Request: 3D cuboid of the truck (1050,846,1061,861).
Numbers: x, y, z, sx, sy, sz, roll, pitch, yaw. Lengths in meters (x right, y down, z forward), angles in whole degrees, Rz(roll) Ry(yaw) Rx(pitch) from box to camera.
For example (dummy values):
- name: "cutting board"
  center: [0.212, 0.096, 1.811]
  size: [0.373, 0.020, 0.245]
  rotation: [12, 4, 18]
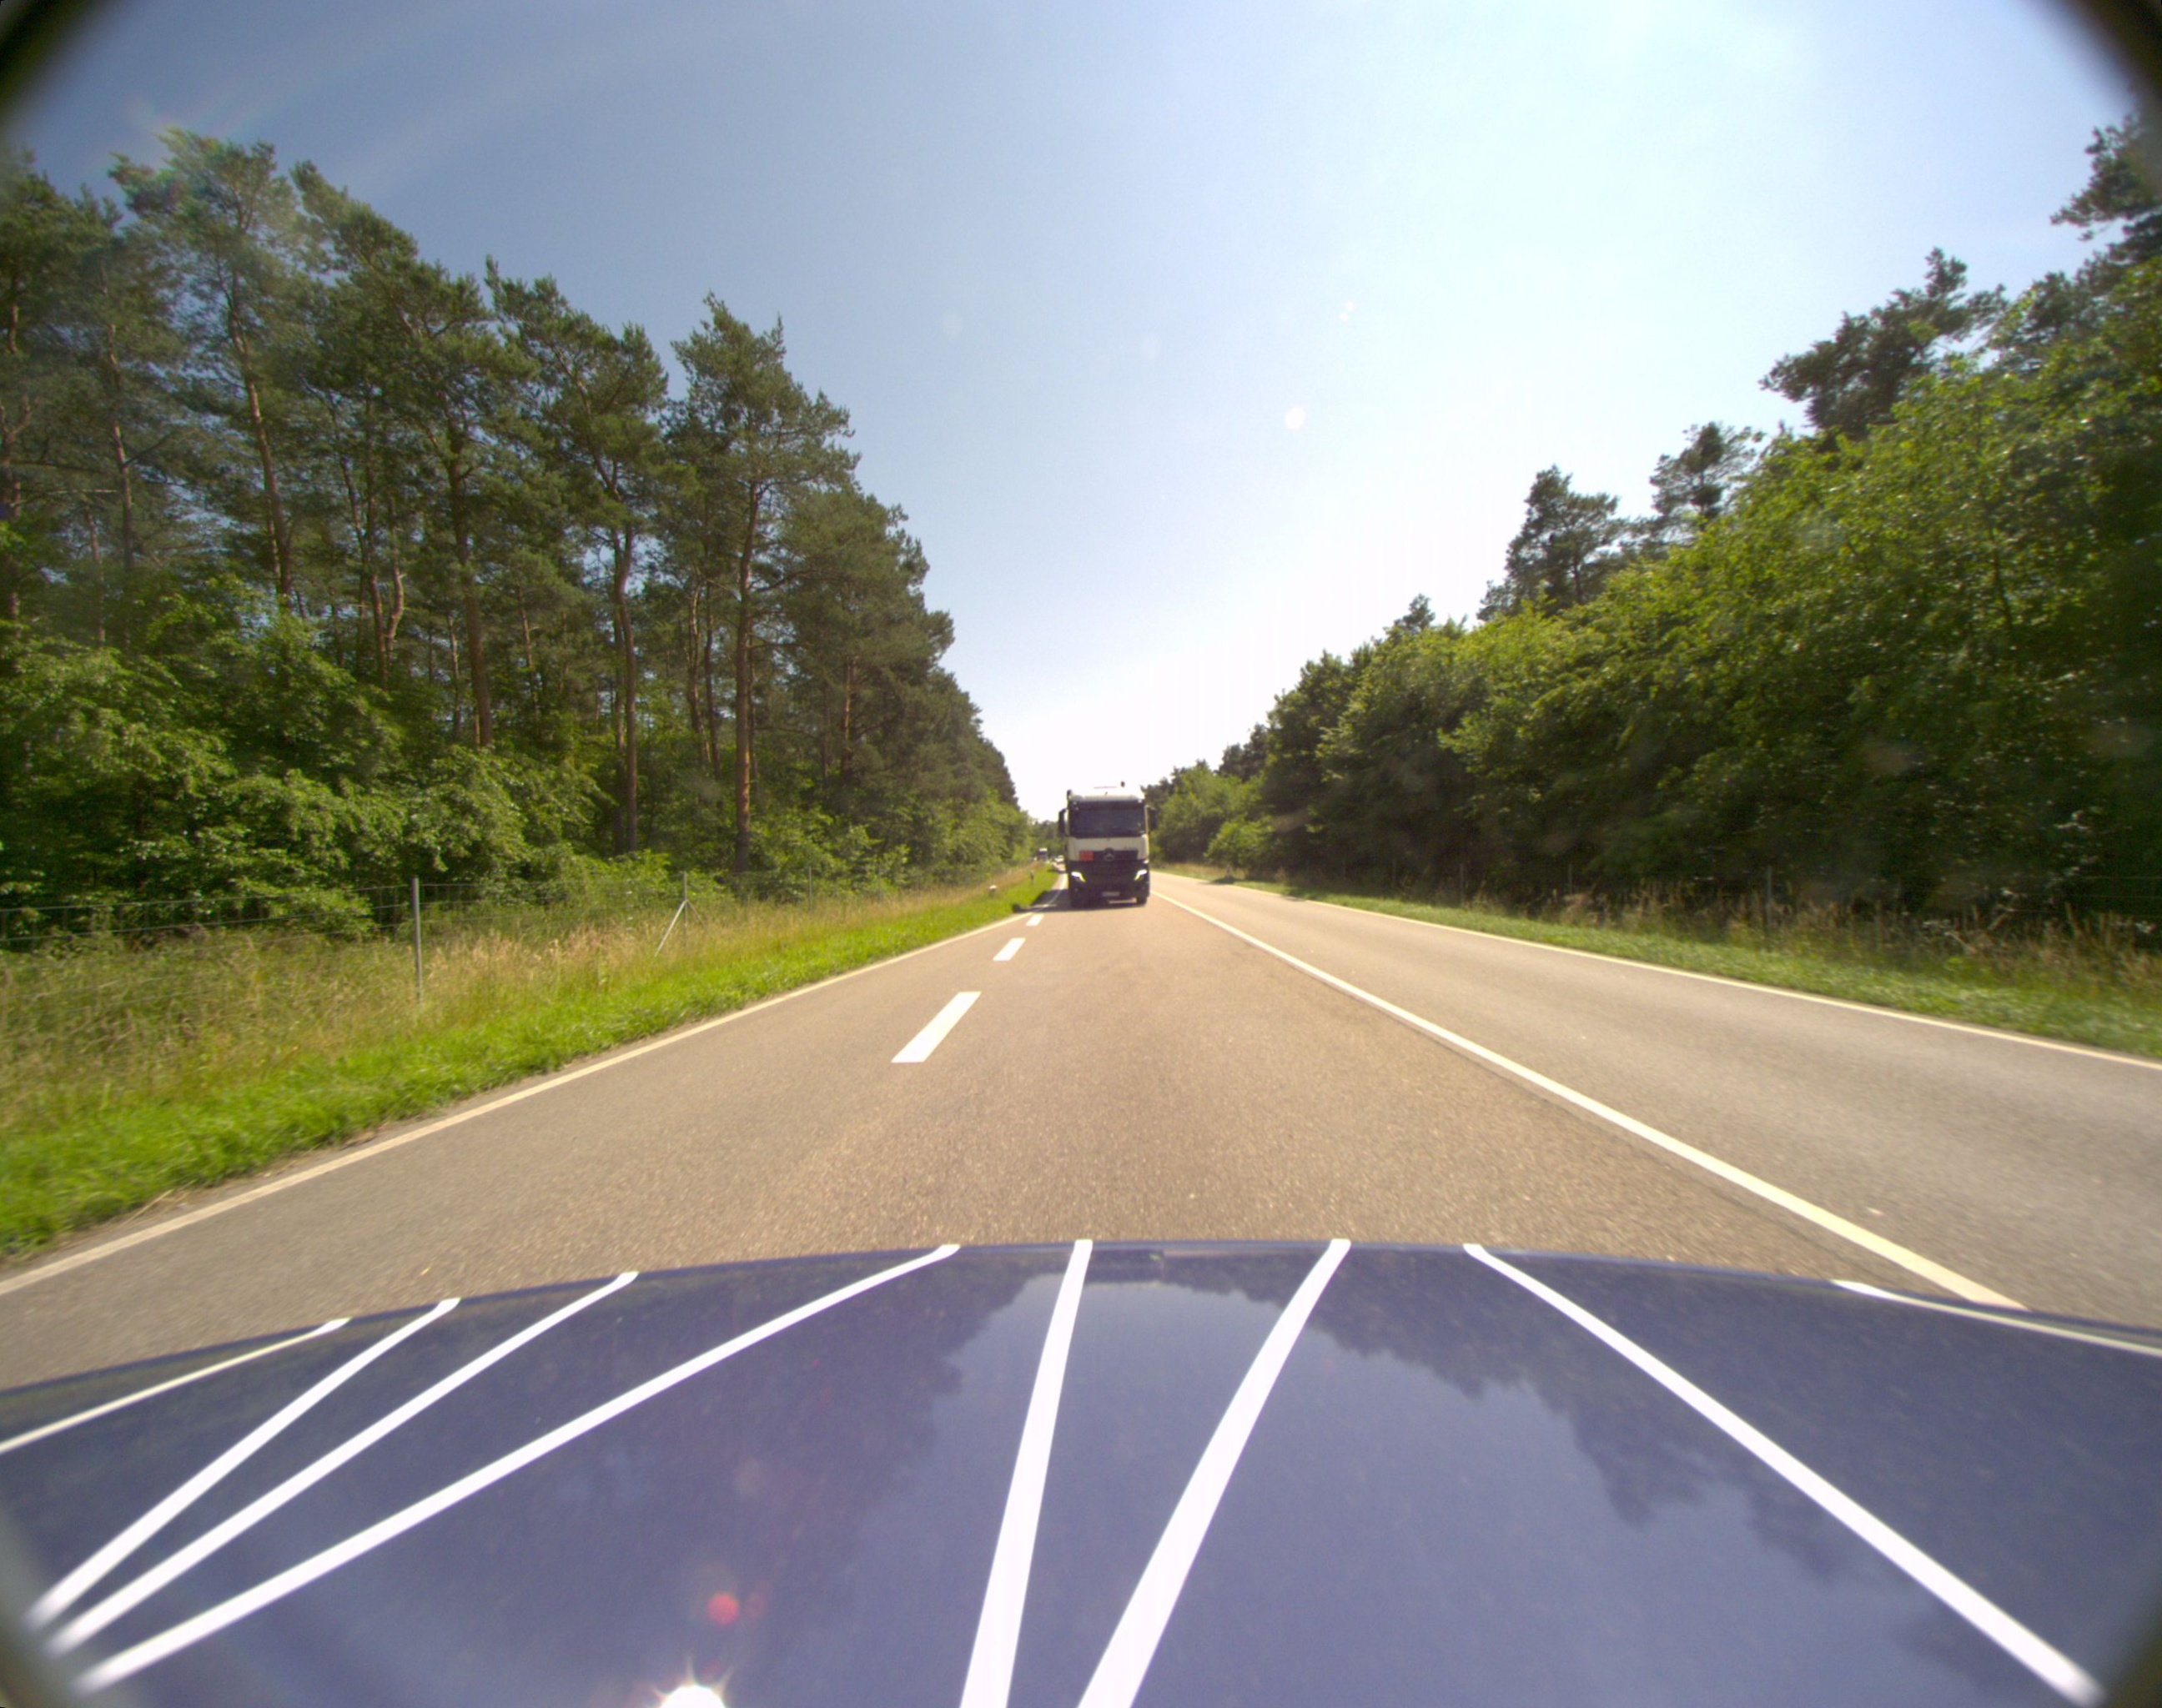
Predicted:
- name: "truck"
  center: [-6.459, -0.152, 191.142]
  size: [2.495, 3.619, 6.100]
  rotation: [-1, 0, -5]

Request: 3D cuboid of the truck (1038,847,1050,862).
- name: "truck"
  center: [-9.317, 0.171, 190.688]
  size: [2.495, 3.619, 6.100]
  rotation: [-1, 0, -5]

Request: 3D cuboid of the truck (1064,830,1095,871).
- name: "truck"
  center: [-0.206, -0.305, 72.856]
  size: [2.495, 3.698, 6.222]
  rotation: [1, 0, -5]

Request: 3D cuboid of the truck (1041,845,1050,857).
- name: "truck"
  center: [-10.961, -0.778, 234.917]
  size: [2.495, 3.619, 6.100]
  rotation: [-1, 0, -5]

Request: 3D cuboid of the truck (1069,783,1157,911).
- name: "truck"
  center: [0.906, -0.189, 25.766]
  size: [2.435, 3.672, 6.456]
  rotation: [-3, 0, -1]

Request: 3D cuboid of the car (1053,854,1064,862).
- name: "car"
  center: [-4.092, 0.746, 139.803]
  size: [1.885, 1.461, 3.999]
  rotation: [-1, 0, -3]
